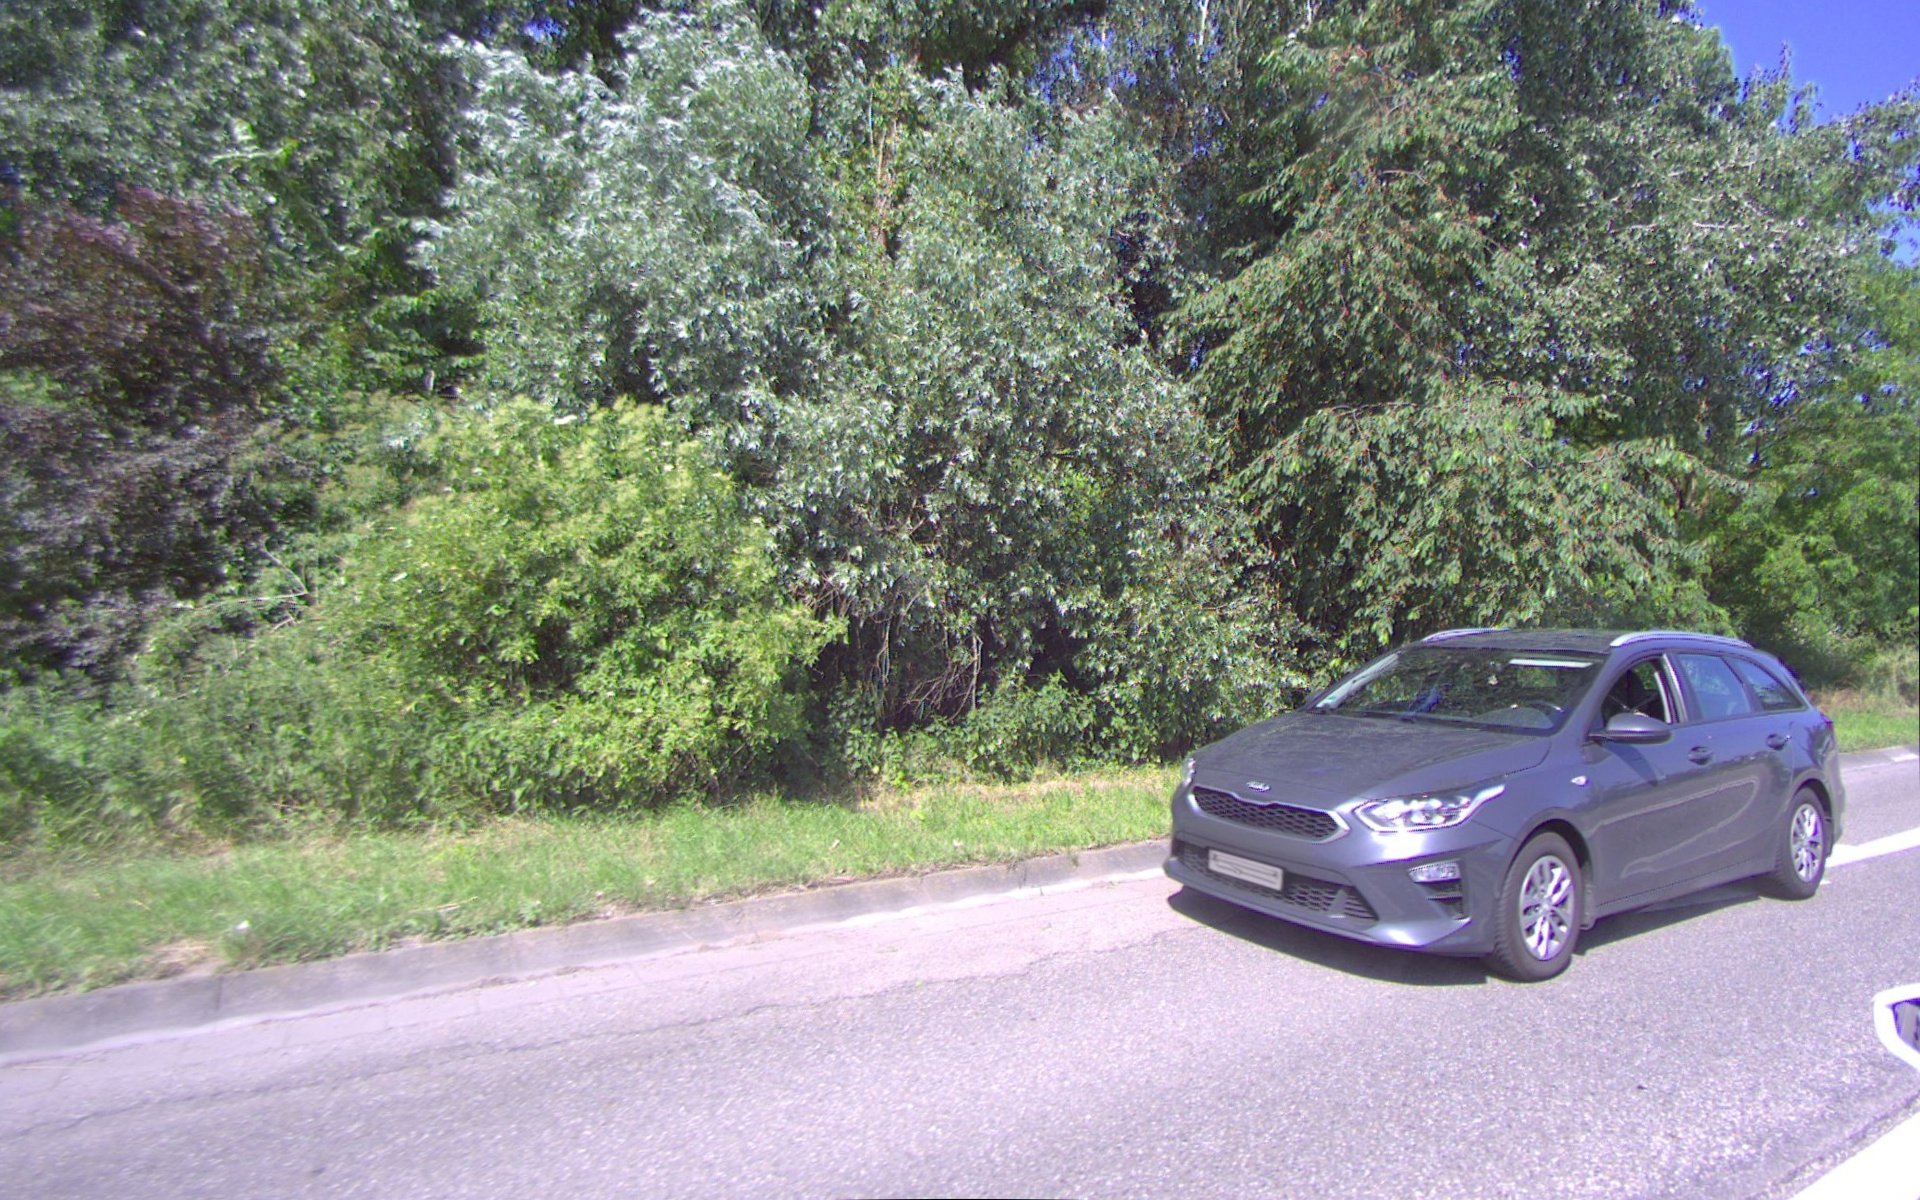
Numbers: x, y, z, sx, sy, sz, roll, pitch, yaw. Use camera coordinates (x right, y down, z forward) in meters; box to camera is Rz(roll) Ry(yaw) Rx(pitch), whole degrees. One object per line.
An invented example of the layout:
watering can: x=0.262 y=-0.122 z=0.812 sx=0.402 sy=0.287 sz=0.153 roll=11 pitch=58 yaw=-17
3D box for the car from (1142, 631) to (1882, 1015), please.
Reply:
car: x=3.177 y=0.887 z=5.543 sx=4.244 sy=1.407 sz=1.690 roll=1 pitch=-2 yaw=-31
